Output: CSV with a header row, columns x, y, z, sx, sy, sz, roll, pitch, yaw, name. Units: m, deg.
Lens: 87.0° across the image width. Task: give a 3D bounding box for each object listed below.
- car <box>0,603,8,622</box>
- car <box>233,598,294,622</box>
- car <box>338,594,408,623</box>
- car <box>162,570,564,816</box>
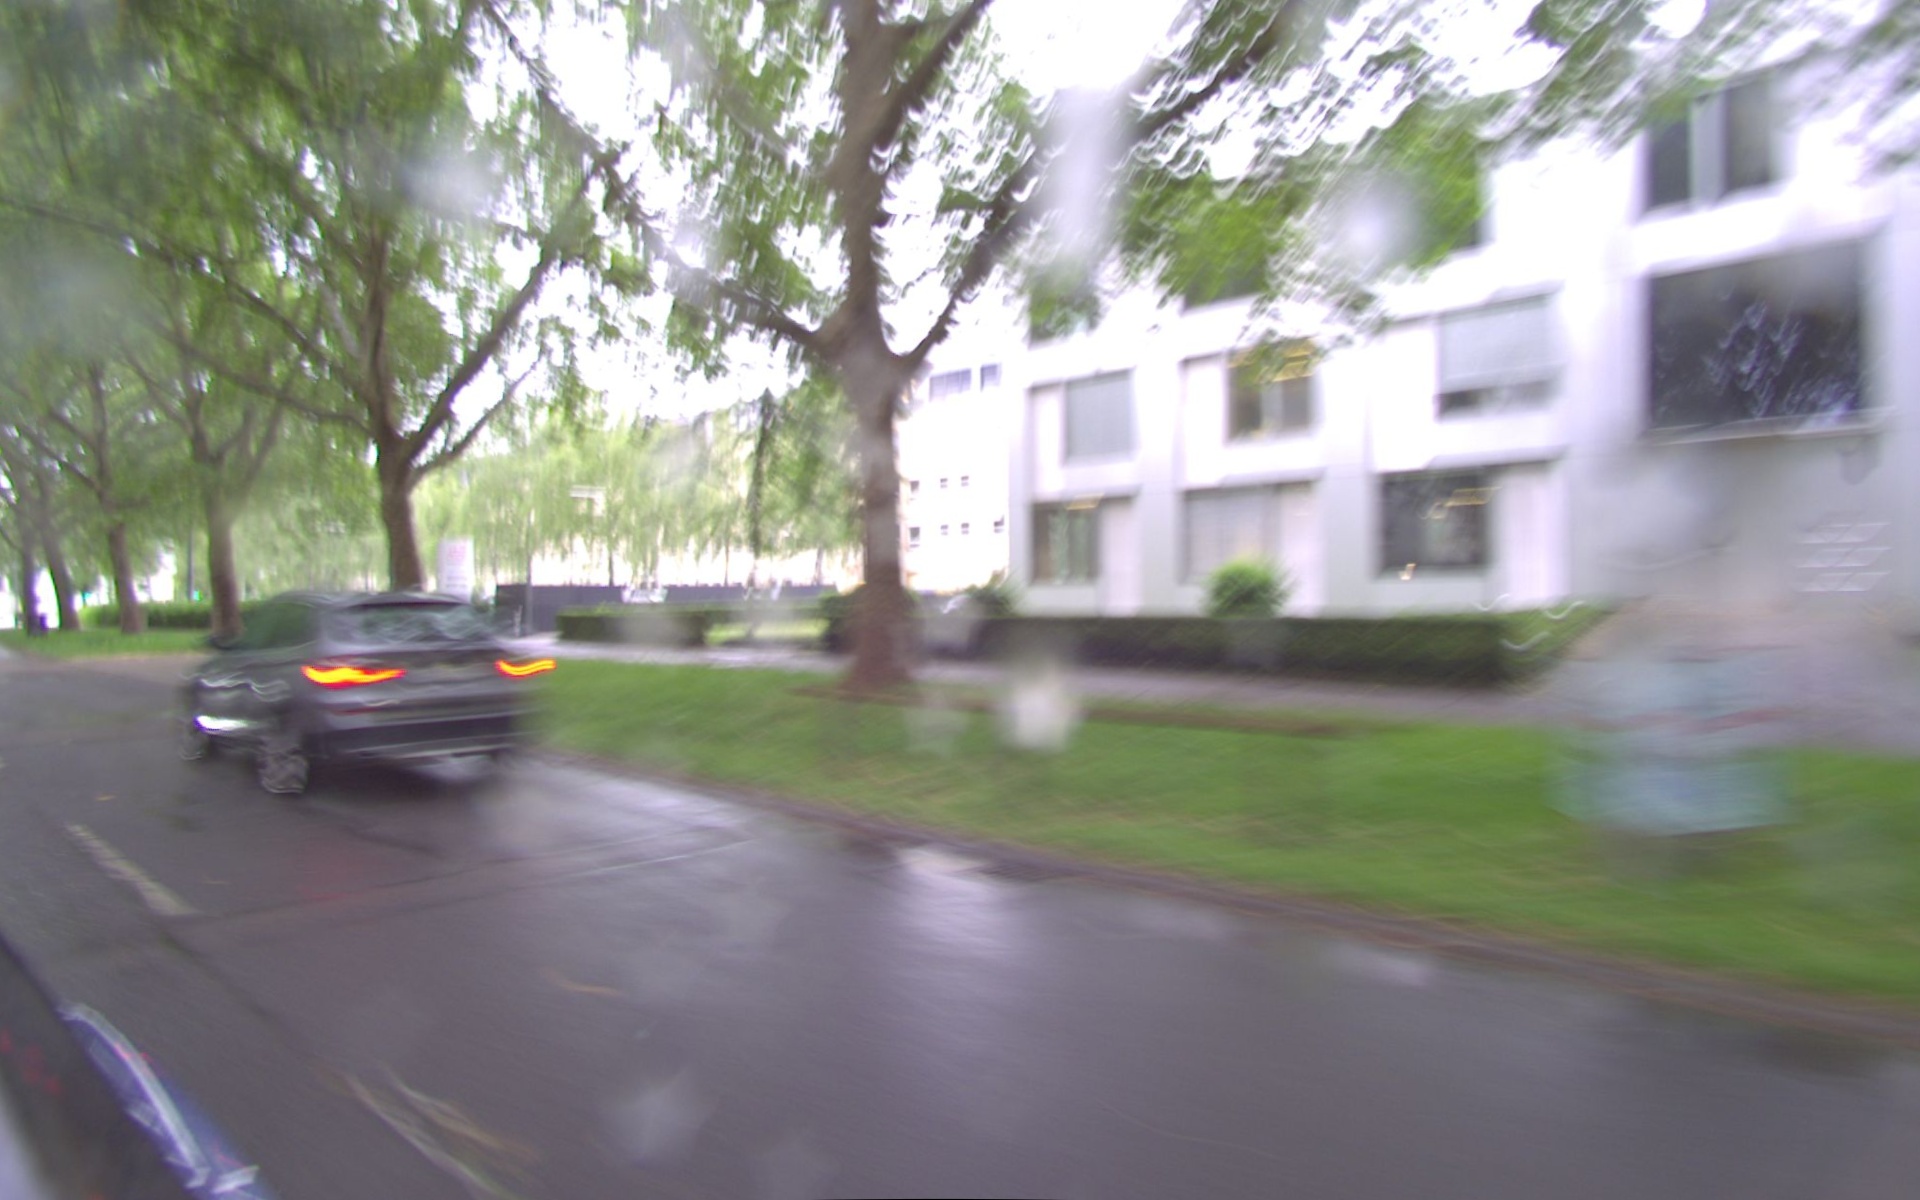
x,y,z,sx,sy,sz,roll,pitch,yaw,name
-111.467,1.492,115.150,2.161,2.272,4.894,-2,1,-8,car
-59.613,0.823,86.675,1.852,1.846,3.950,-1,1,38,car
-41.985,0.613,72.414,2.000,2.029,3.944,-1,-1,42,car
-5.546,0.688,9.153,4.445,1.697,1.790,-1,-2,41,car
